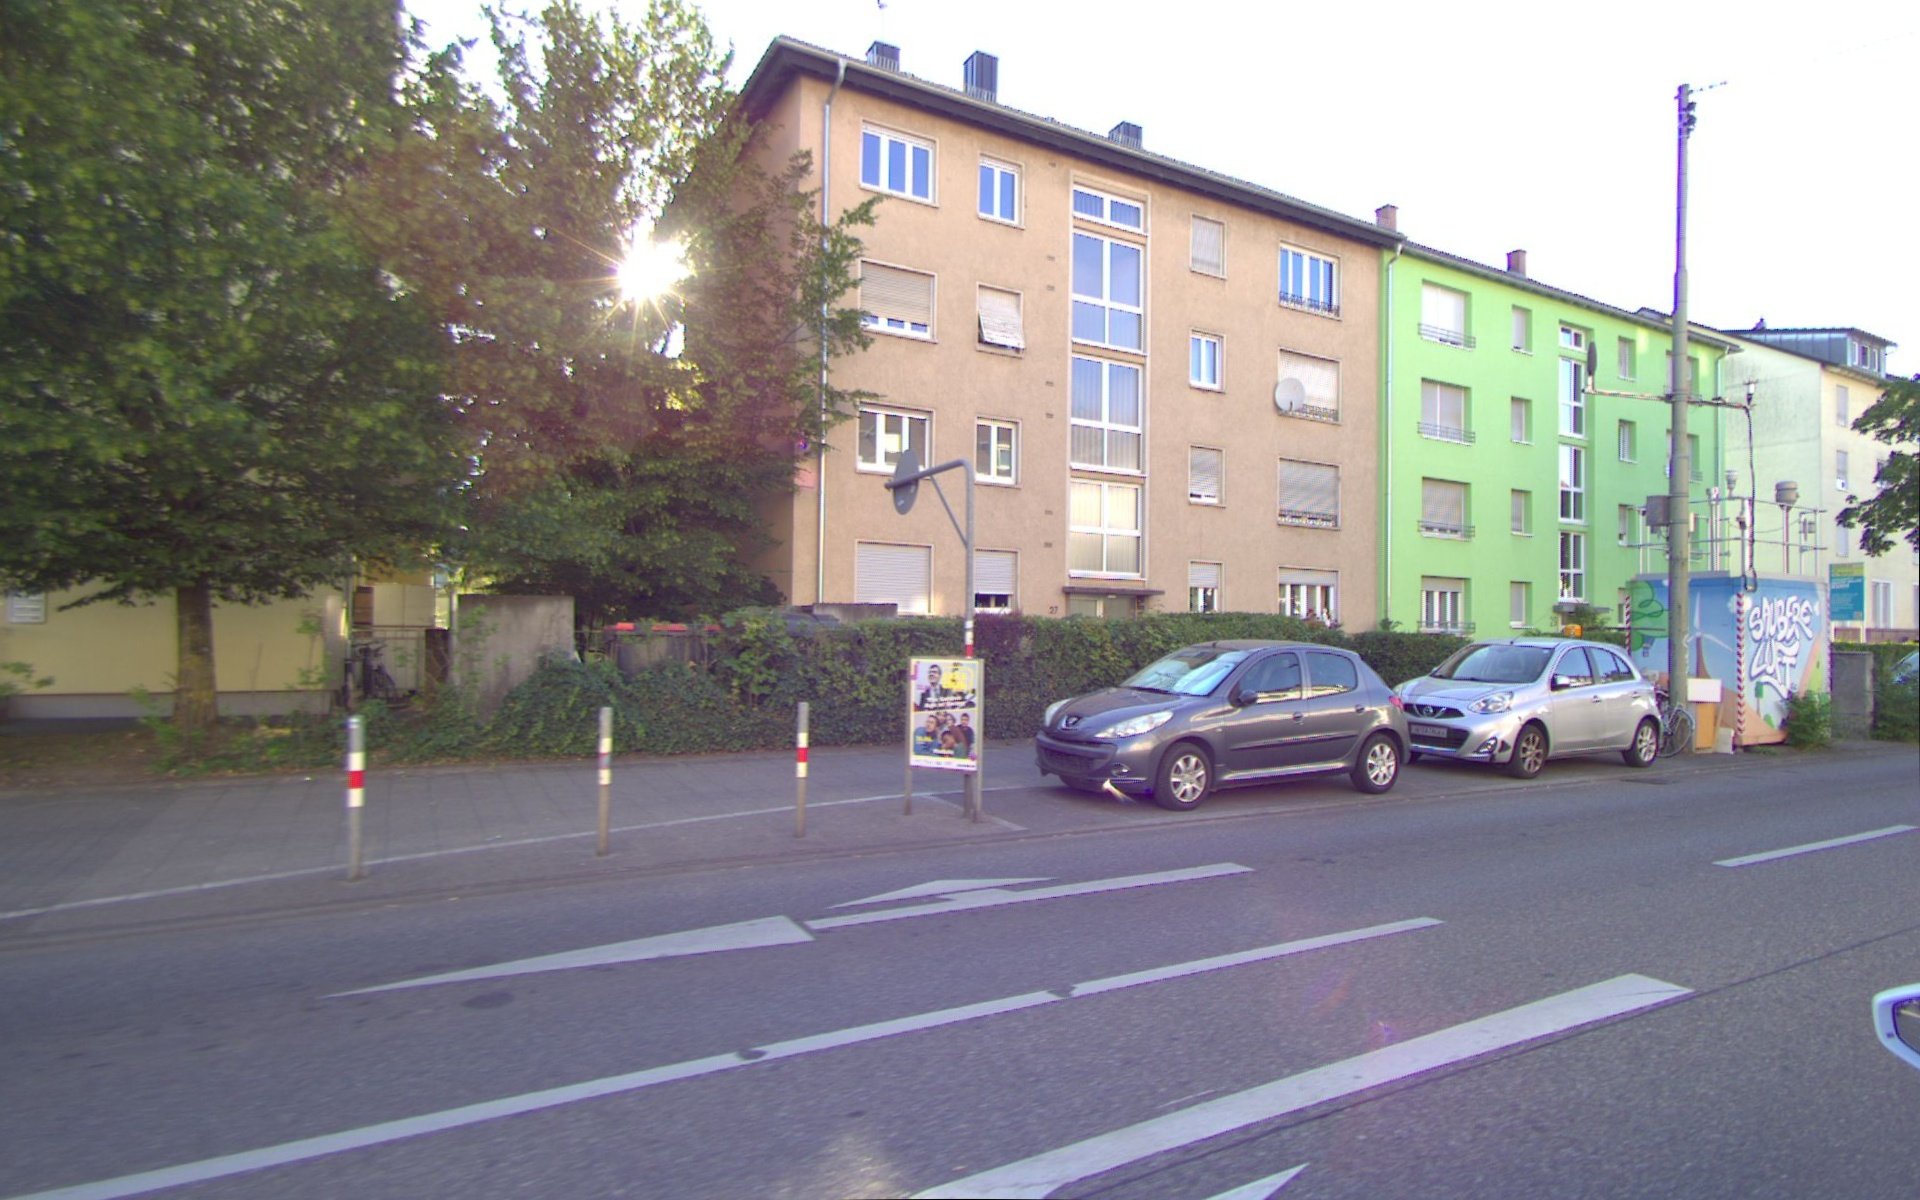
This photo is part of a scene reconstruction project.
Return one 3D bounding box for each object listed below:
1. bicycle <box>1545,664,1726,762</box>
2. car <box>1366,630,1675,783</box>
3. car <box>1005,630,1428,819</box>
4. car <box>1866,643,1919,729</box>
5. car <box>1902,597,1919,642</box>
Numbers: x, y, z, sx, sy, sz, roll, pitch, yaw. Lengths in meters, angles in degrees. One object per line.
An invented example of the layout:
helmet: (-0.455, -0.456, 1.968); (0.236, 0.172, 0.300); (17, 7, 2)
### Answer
bicycle: (9.180, 1.496, 13.748); (0.576, 1.104, 1.997); (2, 0, -28)
car: (6.818, 1.187, 12.142); (3.742, 1.572, 1.629); (2, -2, -31)
car: (2.529, 1.069, 9.722); (3.894, 1.499, 1.647); (2, -2, -28)
car: (19.143, 1.618, 19.148); (4.143, 1.541, 1.674); (2, -2, -31)
car: (39.115, 0.811, 39.600); (3.953, 1.705, 1.819); (2, -2, -30)
